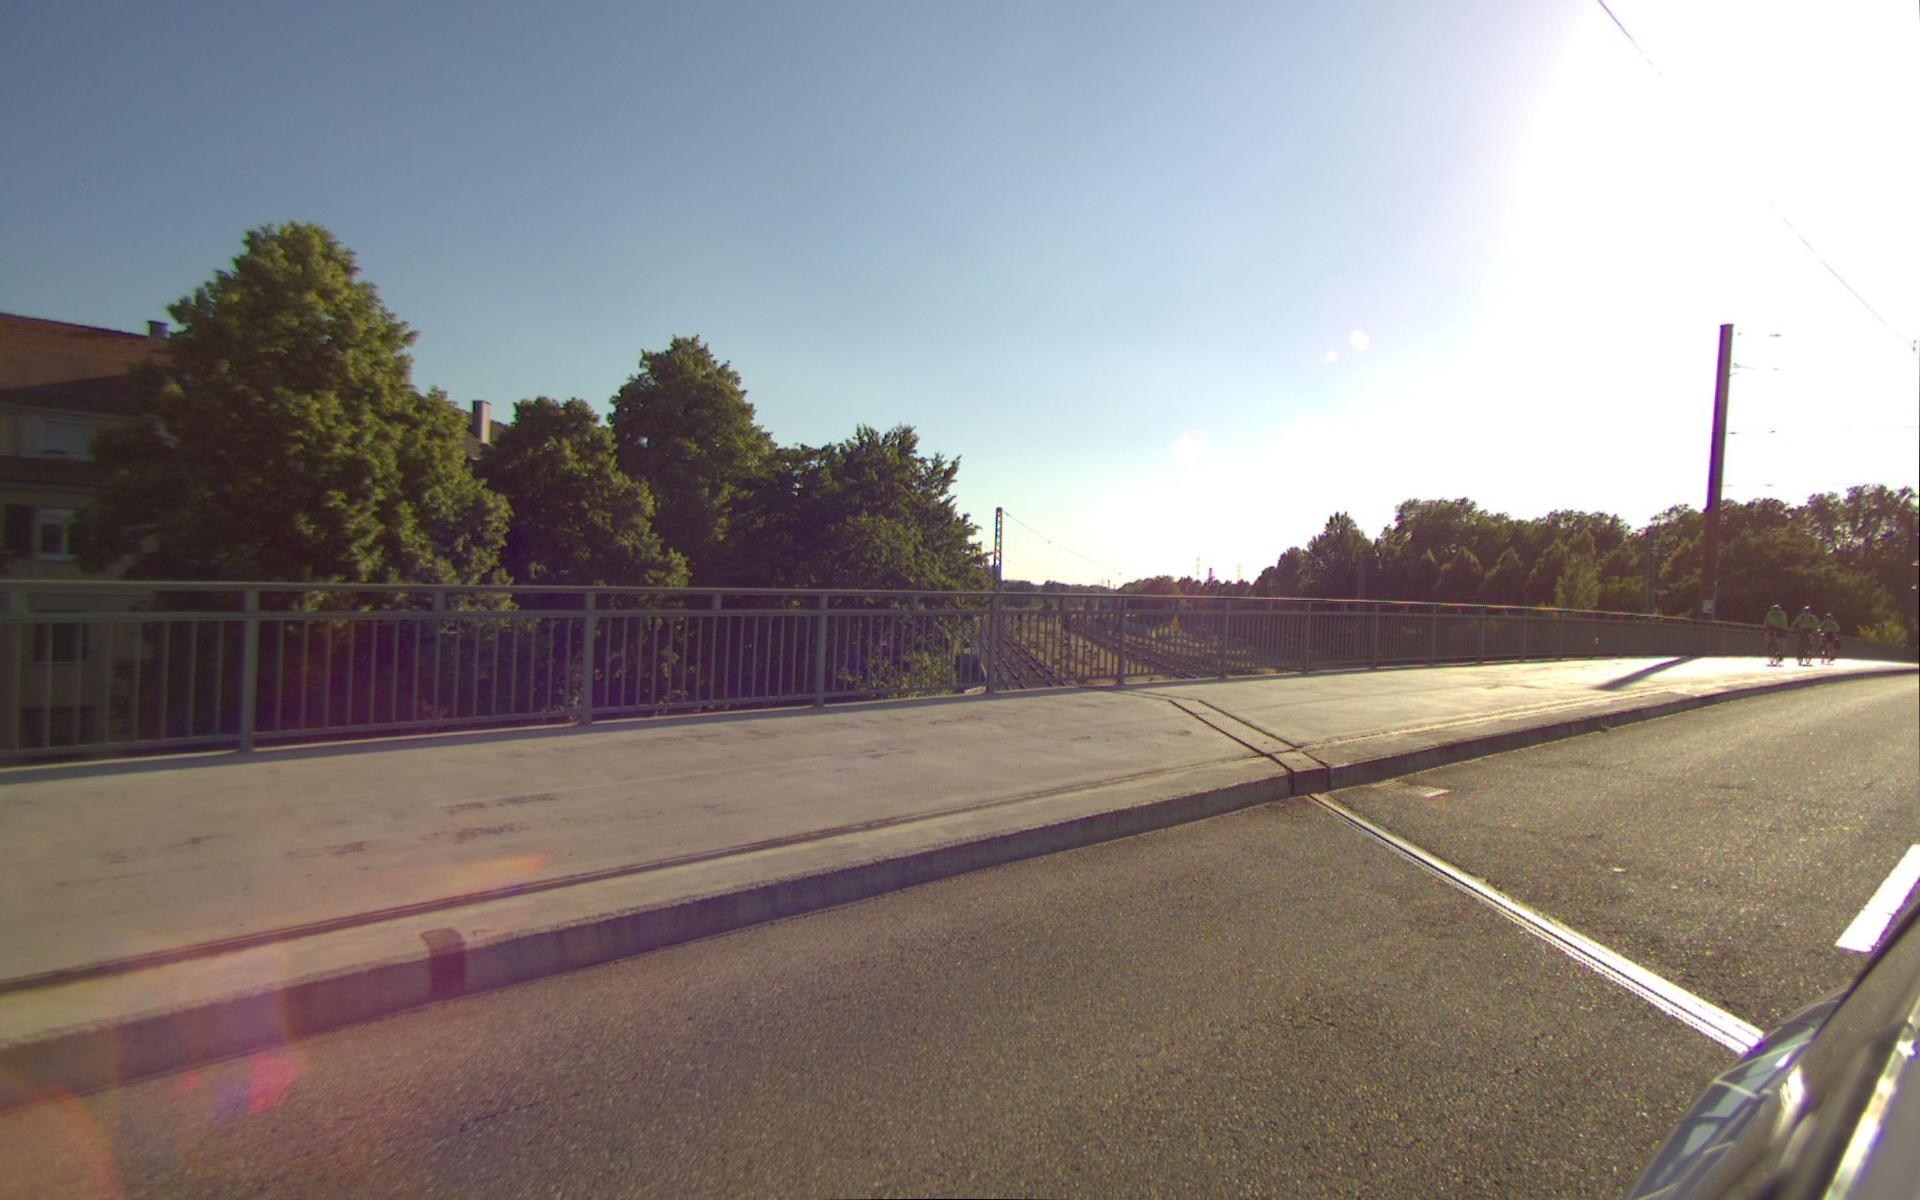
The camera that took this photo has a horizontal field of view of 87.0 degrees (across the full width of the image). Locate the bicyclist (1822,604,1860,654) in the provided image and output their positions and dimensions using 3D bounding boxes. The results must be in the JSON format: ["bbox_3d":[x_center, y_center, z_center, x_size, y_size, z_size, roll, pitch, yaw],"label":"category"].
[{"bbox_3d":[29.332,0.965,33.689,0.881,1.582,0.813,4,-2,-41],"label":"bicyclist"}]

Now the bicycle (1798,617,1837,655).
[{"bbox_3d":[26.430,1.099,31.193,2.006,1.137,0.626,2,0,-42],"label":"bicycle"}]

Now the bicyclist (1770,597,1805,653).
[{"bbox_3d":[23.493,0.712,28.730,0.989,1.527,0.625,3,-1,-44],"label":"bicyclist"}]

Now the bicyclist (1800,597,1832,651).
[{"bbox_3d":[26.404,0.735,31.213,0.914,1.612,0.626,2,0,-41],"label":"bicyclist"}]

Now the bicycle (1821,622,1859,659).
[{"bbox_3d":[29.295,1.359,33.675,2.177,1.137,0.684,4,-1,-42],"label":"bicycle"}]

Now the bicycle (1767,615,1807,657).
[{"bbox_3d":[23.511,1.030,28.749,2.222,1.137,0.625,2,-1,-45],"label":"bicycle"}]
